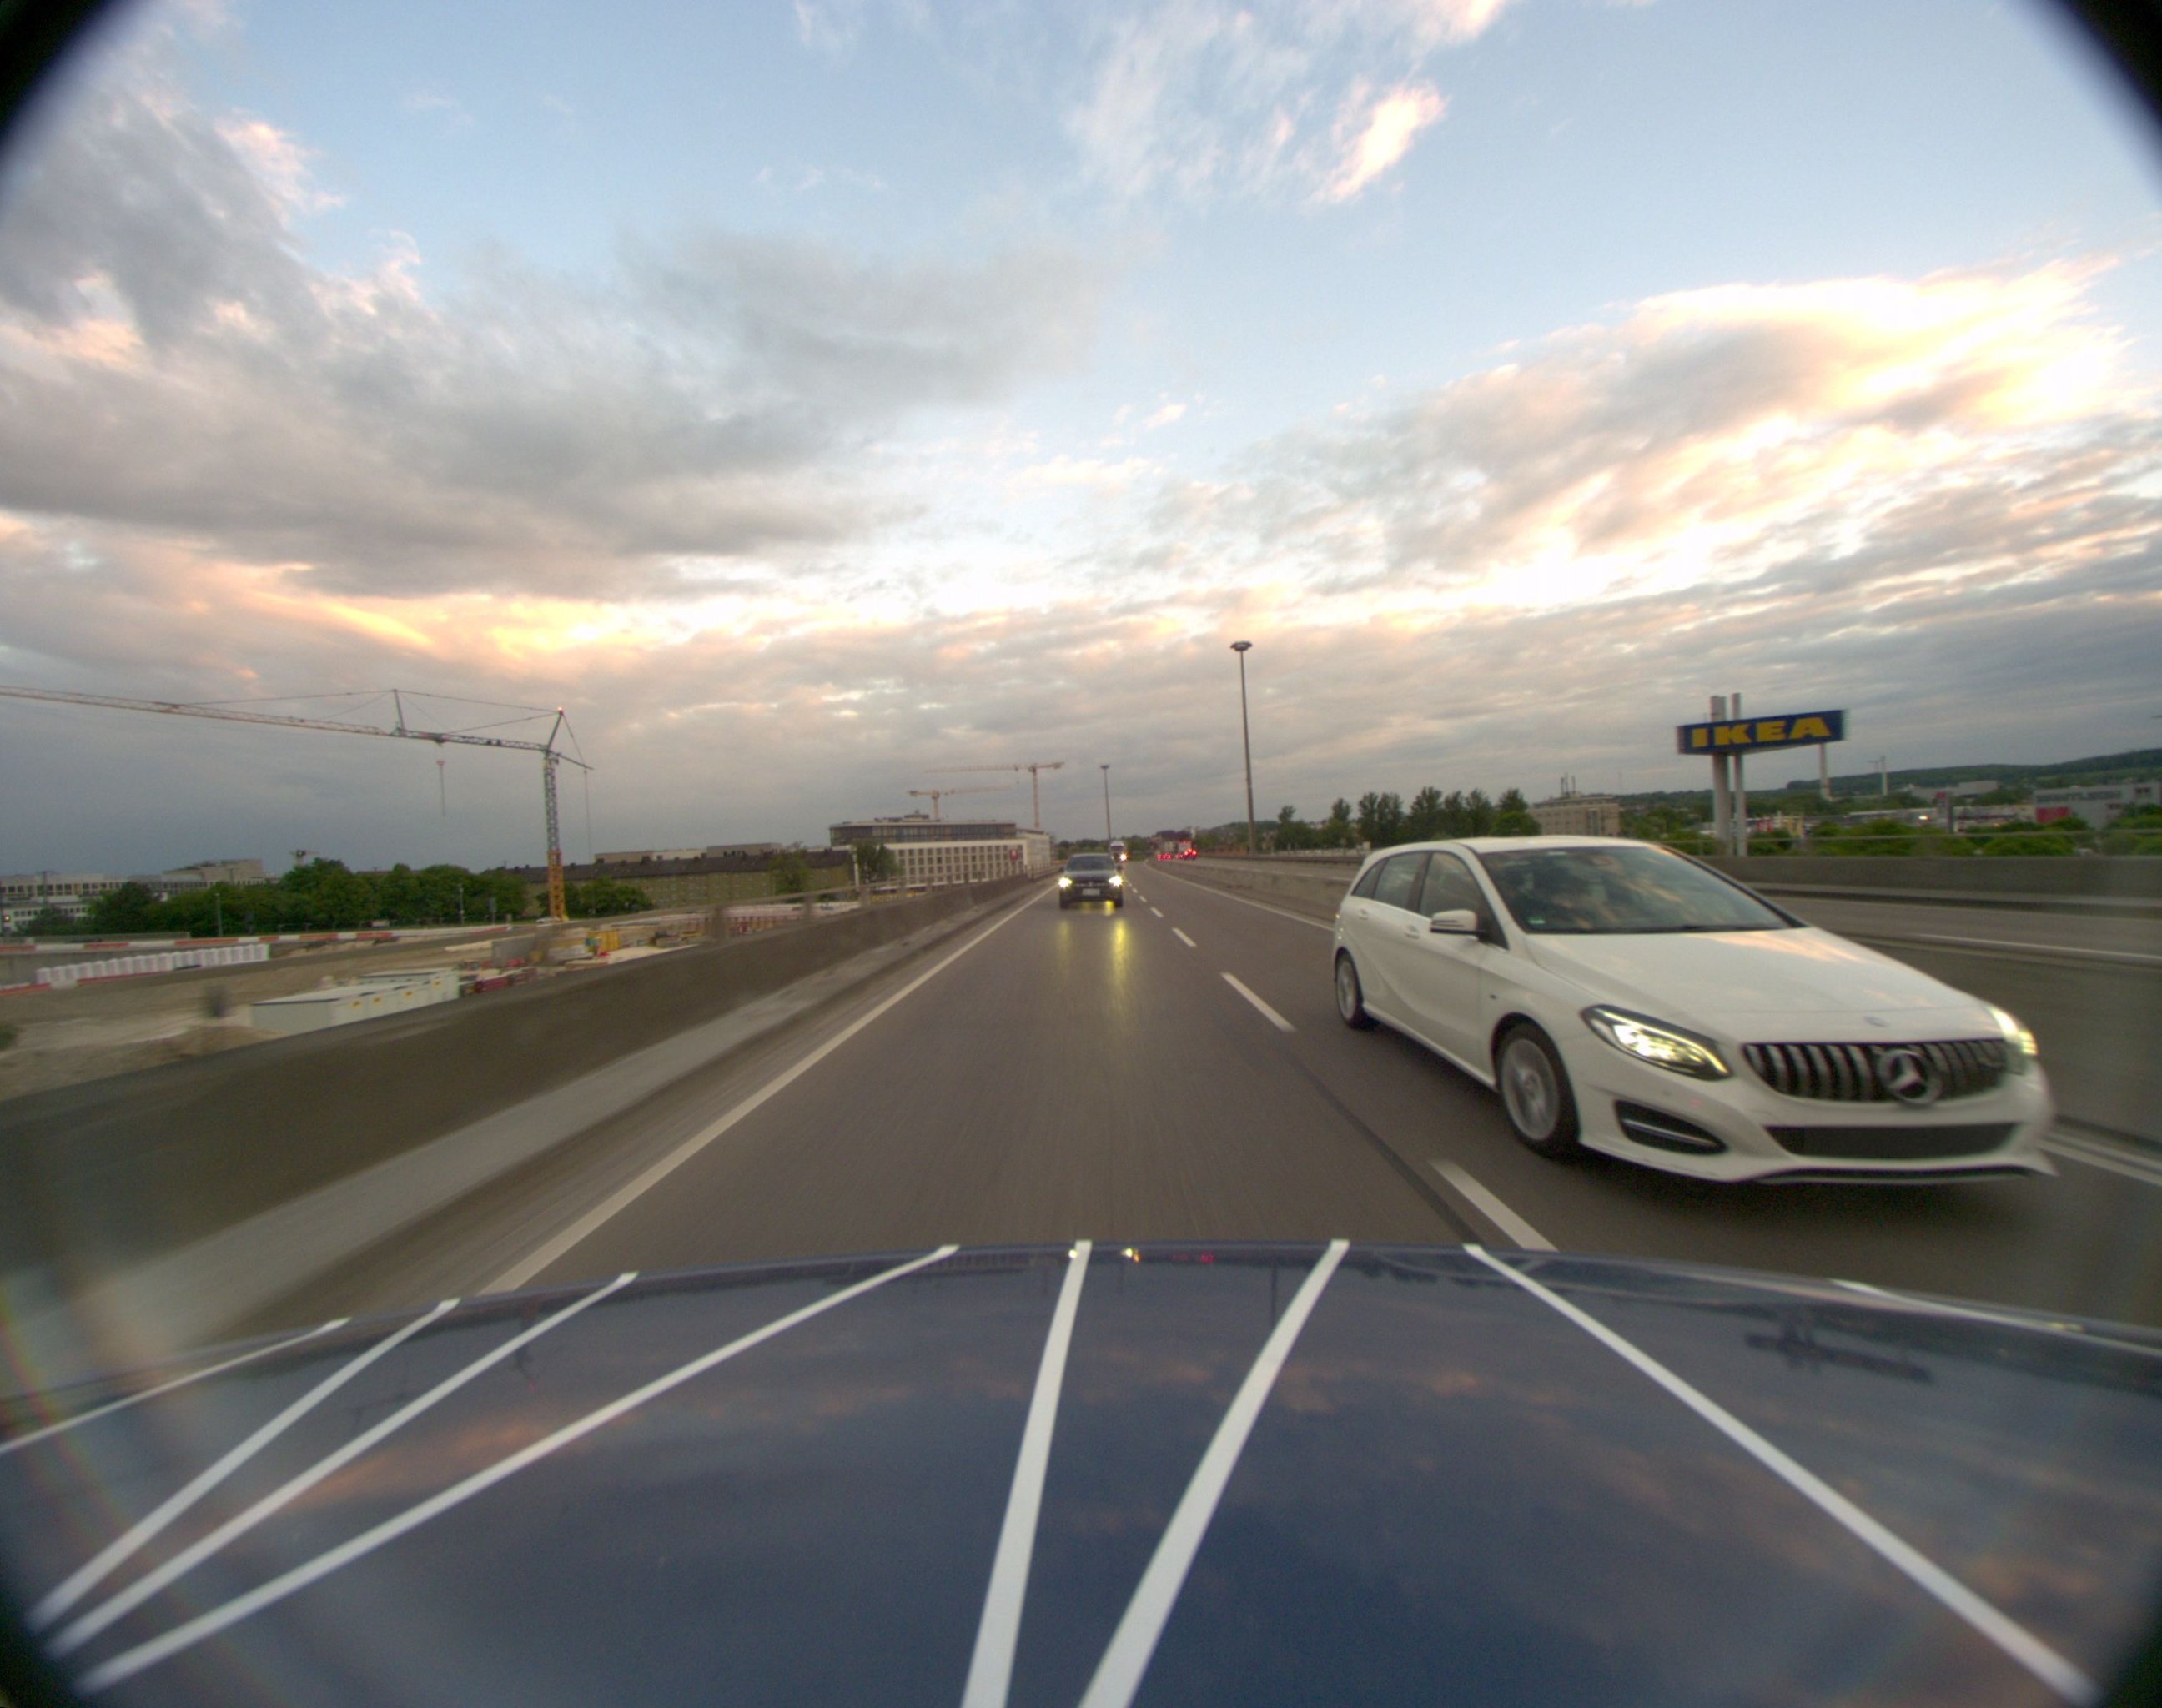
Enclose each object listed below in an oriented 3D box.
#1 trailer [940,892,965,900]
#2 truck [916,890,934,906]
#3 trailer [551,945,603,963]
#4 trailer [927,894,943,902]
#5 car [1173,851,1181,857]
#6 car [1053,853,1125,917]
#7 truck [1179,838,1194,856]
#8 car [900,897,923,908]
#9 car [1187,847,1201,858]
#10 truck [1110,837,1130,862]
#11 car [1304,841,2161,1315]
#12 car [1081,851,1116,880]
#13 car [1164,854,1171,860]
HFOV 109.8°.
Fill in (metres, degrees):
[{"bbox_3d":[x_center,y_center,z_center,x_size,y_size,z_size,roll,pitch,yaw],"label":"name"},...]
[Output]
[{"bbox_3d":[-30.714,10.028,181.662,5.875,1.340,2.024,-2,1,-14],"label":"trailer"},{"bbox_3d":[-34.604,9.724,168.935,2.163,2.930,7.338,-5,-1,0],"label":"truck"},{"bbox_3d":[-53.639,10.638,80.941,1.780,1.233,4.259,-5,-1,30],"label":"trailer"},{"bbox_3d":[-33.899,10.128,176.536,1.998,1.339,5.876,-8,-1,5],"label":"trailer"},{"bbox_3d":[24.565,0.047,195.127,1.835,1.494,4.818,-2,0,5],"label":"car"},{"bbox_3d":[0.338,0.816,21.773,1.823,1.602,4.214,-2,0,3],"label":"car"},{"bbox_3d":[20.274,-1.428,146.599,2.540,3.277,7.449,-2,0,6],"label":"truck"},{"bbox_3d":[-32.885,9.403,147.489,3.787,1.729,1.647,-4,0,18],"label":"car"},{"bbox_3d":[17.885,-0.290,120.495,1.981,1.596,4.443,-2,0,6],"label":"car"},{"bbox_3d":[7.239,-0.768,139.797,3.164,4.369,8.796,-2,0,6],"label":"truck"},{"bbox_3d":[2.963,0.787,4.934,1.695,1.528,4.784,-2,-1,2],"label":"car"},{"bbox_3d":[1.109,0.721,46.669,1.890,1.641,4.346,-3,-1,4],"label":"car"},{"bbox_3d":[23.041,0.821,203.428,1.632,1.432,3.837,-2,-1,3],"label":"car"}]
